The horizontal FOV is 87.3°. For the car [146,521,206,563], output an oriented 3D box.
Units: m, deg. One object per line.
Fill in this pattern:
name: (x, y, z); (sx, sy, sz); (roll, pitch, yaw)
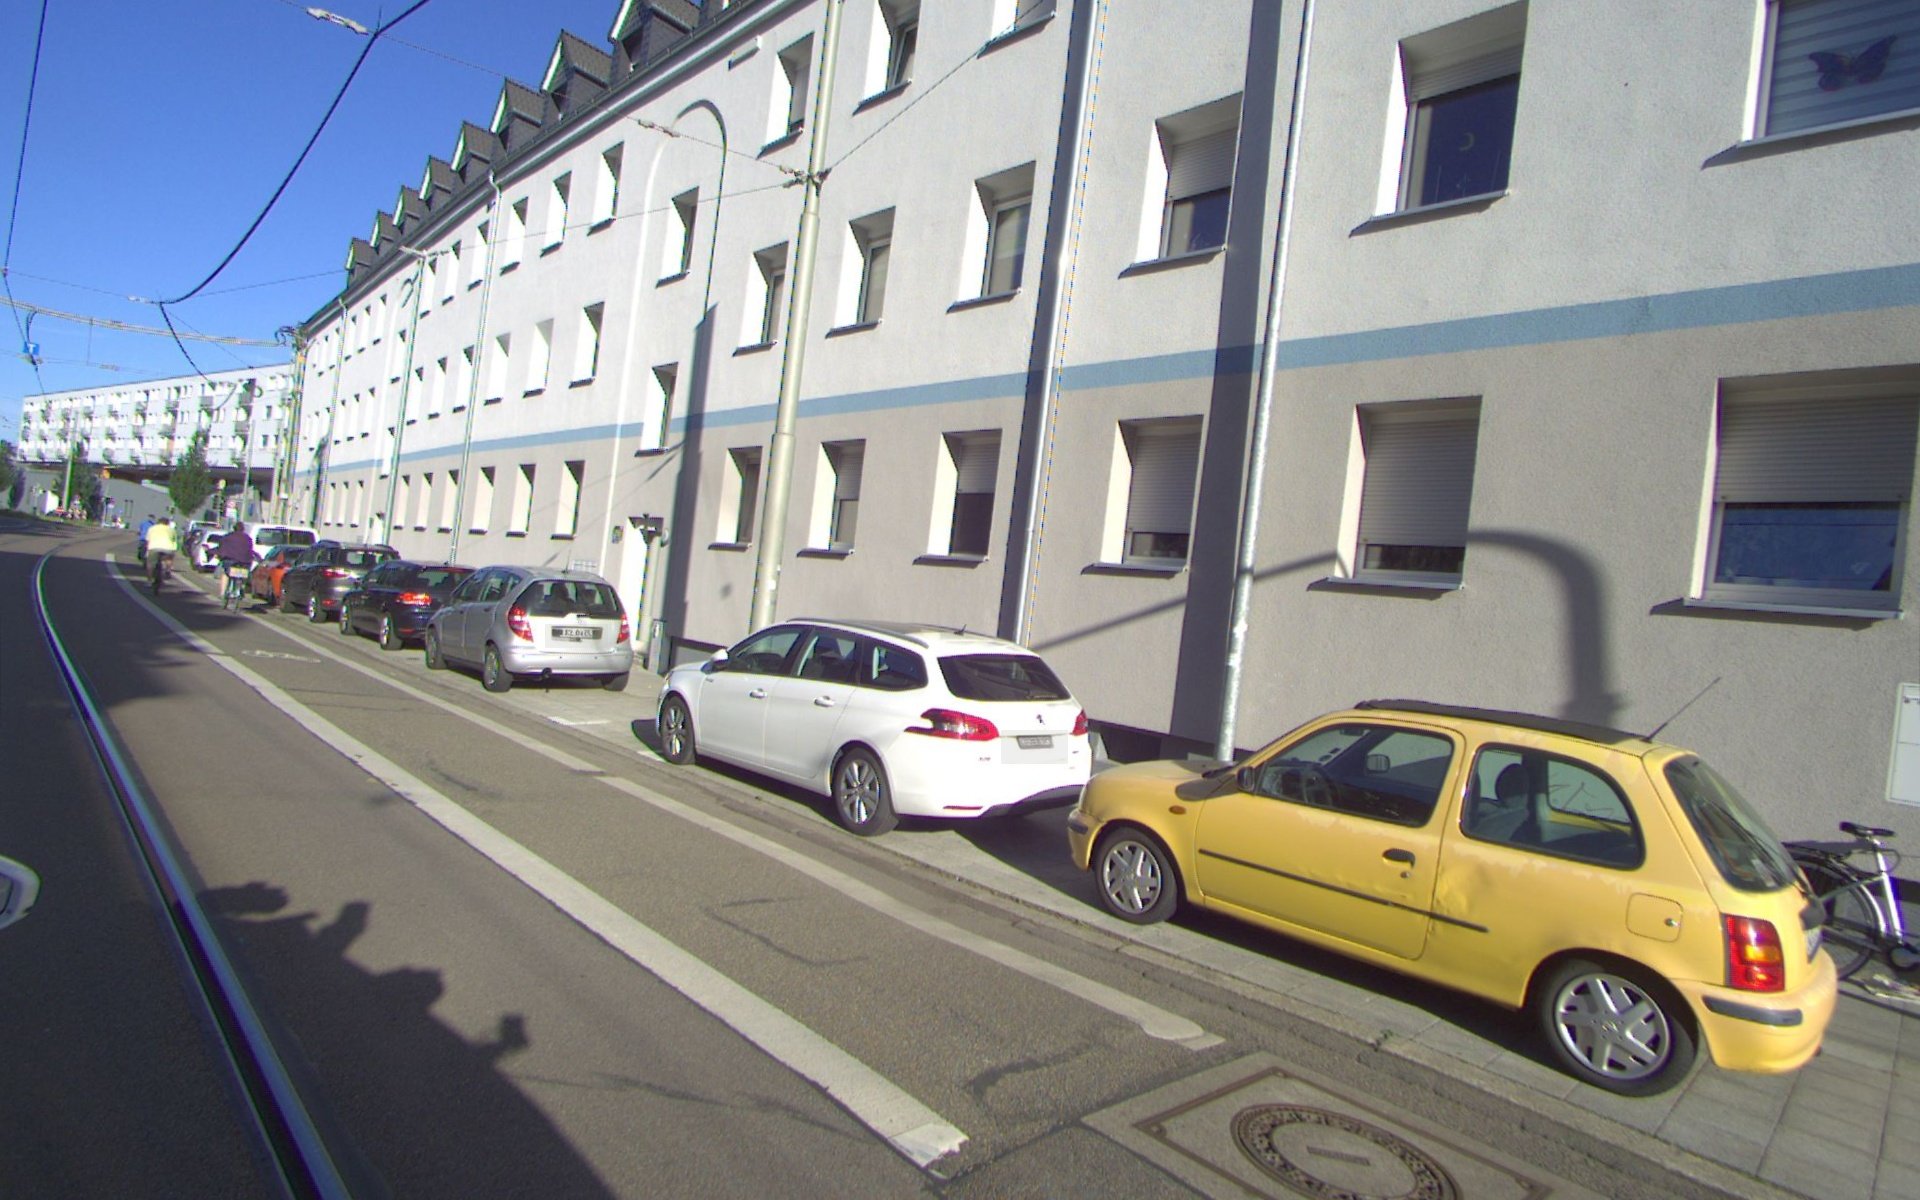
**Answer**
car: (-38.210, -2.856, 48.998); (1.839, 1.665, 3.916); (8, -1, -43)

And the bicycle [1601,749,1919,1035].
bicycle: (5.132, 1.643, 5.669); (2.297, 1.212, 1.093); (6, -1, 44)

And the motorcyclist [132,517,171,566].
motorcyclist: (-25.751, -1.865, 32.034); (1.007, 1.422, 0.726); (7, -1, 45)

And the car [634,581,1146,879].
car: (-0.841, 0.842, 8.395); (1.674, 1.590, 4.453); (6, 0, -44)

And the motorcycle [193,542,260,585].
motorcycle: (-23.533, -1.170, 32.283); (1.737, 1.158, 0.492); (7, 0, 6)

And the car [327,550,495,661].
car: (-9.680, 0.041, 17.589); (1.585, 1.557, 3.959); (5, 1, -43)

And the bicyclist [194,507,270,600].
bicyclist: (-14.526, -0.927, 20.073); (0.957, 1.696, 0.932); (7, -1, 45)

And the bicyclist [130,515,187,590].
bicyclist: (-17.232, -1.015, 21.616); (1.007, 1.479, 0.726); (7, -1, 45)

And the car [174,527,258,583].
car: (-27.242, -1.679, 36.786); (1.839, 1.665, 4.493); (8, -1, -43)

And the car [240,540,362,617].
car: (-16.374, -0.572, 24.938); (1.791, 1.501, 3.732); (8, -1, -43)

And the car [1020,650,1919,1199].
car: (2.416, 1.220, 5.204); (1.509, 1.448, 4.148); (6, -1, -45)

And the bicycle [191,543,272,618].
bicycle: (-14.650, -0.409, 20.200); (2.431, 1.251, 0.819); (6, -2, 45)

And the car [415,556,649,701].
car: (-6.080, 0.327, 14.066); (1.747, 1.591, 3.856); (3, 2, -43)

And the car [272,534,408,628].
car: (-13.205, -0.438, 21.336); (1.653, 1.692, 3.856); (3, 2, -43)

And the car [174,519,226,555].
car: (-44.548, -3.720, 58.957); (1.839, 1.777, 4.493); (8, -1, -43)

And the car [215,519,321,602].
car: (-19.686, -1.147, 28.558); (1.780, 1.995, 4.104); (6, 0, -43)
